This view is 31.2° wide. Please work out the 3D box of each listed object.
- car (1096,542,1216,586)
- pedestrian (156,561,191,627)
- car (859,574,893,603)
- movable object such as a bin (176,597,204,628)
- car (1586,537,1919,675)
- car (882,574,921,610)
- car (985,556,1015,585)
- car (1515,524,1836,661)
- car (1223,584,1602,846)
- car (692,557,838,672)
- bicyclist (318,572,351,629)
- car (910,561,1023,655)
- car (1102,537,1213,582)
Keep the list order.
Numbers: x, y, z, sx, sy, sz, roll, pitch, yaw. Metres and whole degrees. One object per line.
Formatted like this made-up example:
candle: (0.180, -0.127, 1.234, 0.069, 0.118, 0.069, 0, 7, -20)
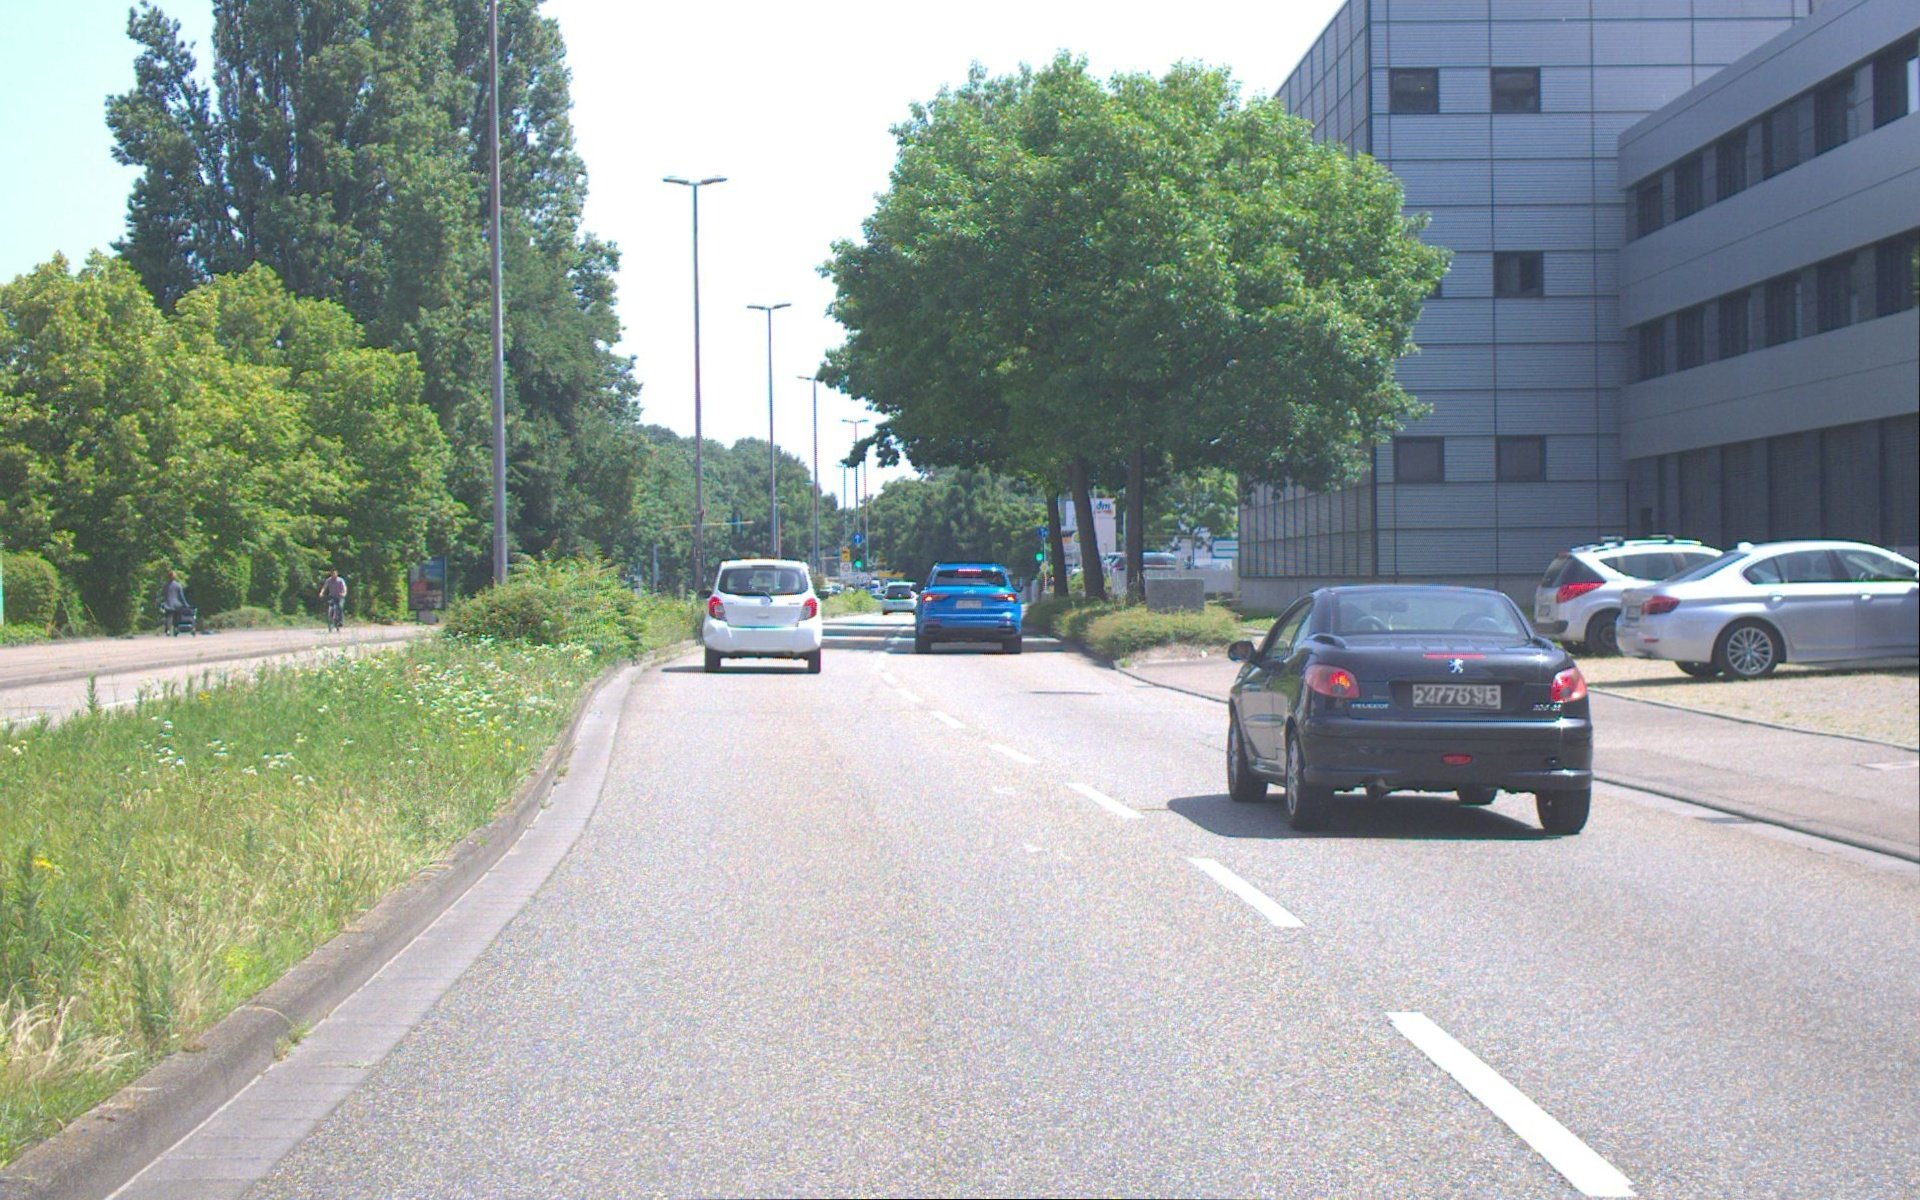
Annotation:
car: (7.678, -1.424, 134.860, 4.499, 1.577, 2.000, -2, 0, -1)
pedestrian: (-18.556, -0.132, 81.082, 0.633, 1.539, 0.727, -1, 0, -1)
car: (-5.051, -0.723, 206.886, 1.819, 1.656, 4.001, -1, 1, -4)
movable object such as a bin: (-18.101, 0.296, 80.792, 0.428, 0.703, 0.652, -1, 0, 8)
car: (9.408, 0.030, 37.684, 4.612, 1.385, 2.000, -2, 1, -4)
car: (-2.790, -0.391, 163.955, 1.819, 1.656, 4.000, -1, 0, -1)
car: (2.843, -2.100, 246.311, 1.769, 2.007, 3.991, -1, 1, -4)
car: (9.616, -0.109, 46.364, 3.811, 1.586, 1.732, -3, 1, -4)
car: (2.546, 0.604, 20.100, 1.627, 1.359, 3.606, 0, 1, -2)
car: (-2.686, 0.171, 47.991, 1.748, 1.515, 3.745, 0, 1, 1)
bicyclist: (-16.914, 0.016, 92.963, 0.717, 1.511, 1.027, -1, 0, -4)
car: (0.088, 0.122, 60.465, 1.827, 1.575, 3.606, -1, 1, -2)
car: (7.503, -1.544, 131.025, 3.986, 1.613, 2.000, -1, 0, -4)
